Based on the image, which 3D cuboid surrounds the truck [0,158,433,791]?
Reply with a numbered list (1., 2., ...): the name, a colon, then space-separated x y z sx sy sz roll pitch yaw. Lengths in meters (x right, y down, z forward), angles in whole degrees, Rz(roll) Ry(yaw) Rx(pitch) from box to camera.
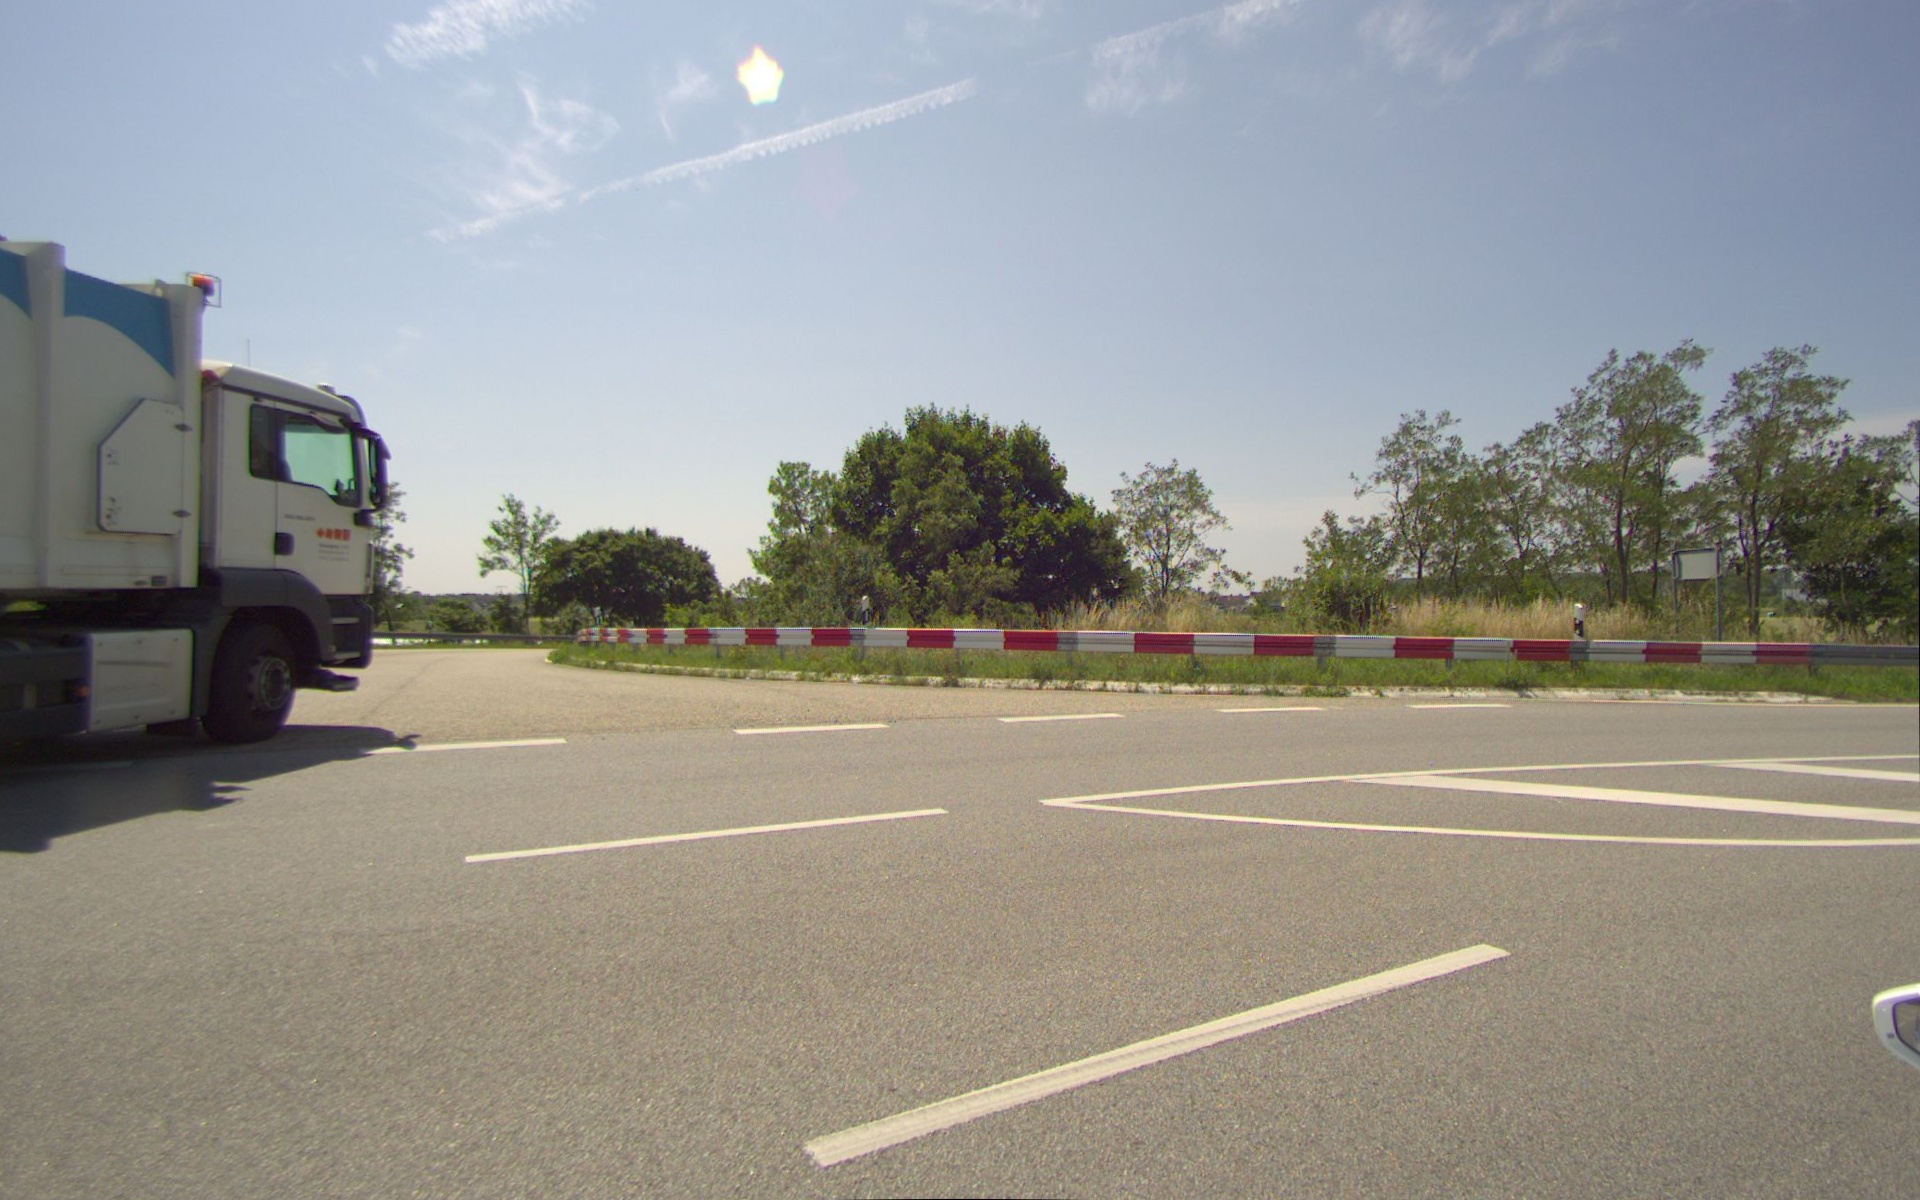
1. truck: -7.191 -0.767 4.941 2.765 3.718 9.954 1 0 8
